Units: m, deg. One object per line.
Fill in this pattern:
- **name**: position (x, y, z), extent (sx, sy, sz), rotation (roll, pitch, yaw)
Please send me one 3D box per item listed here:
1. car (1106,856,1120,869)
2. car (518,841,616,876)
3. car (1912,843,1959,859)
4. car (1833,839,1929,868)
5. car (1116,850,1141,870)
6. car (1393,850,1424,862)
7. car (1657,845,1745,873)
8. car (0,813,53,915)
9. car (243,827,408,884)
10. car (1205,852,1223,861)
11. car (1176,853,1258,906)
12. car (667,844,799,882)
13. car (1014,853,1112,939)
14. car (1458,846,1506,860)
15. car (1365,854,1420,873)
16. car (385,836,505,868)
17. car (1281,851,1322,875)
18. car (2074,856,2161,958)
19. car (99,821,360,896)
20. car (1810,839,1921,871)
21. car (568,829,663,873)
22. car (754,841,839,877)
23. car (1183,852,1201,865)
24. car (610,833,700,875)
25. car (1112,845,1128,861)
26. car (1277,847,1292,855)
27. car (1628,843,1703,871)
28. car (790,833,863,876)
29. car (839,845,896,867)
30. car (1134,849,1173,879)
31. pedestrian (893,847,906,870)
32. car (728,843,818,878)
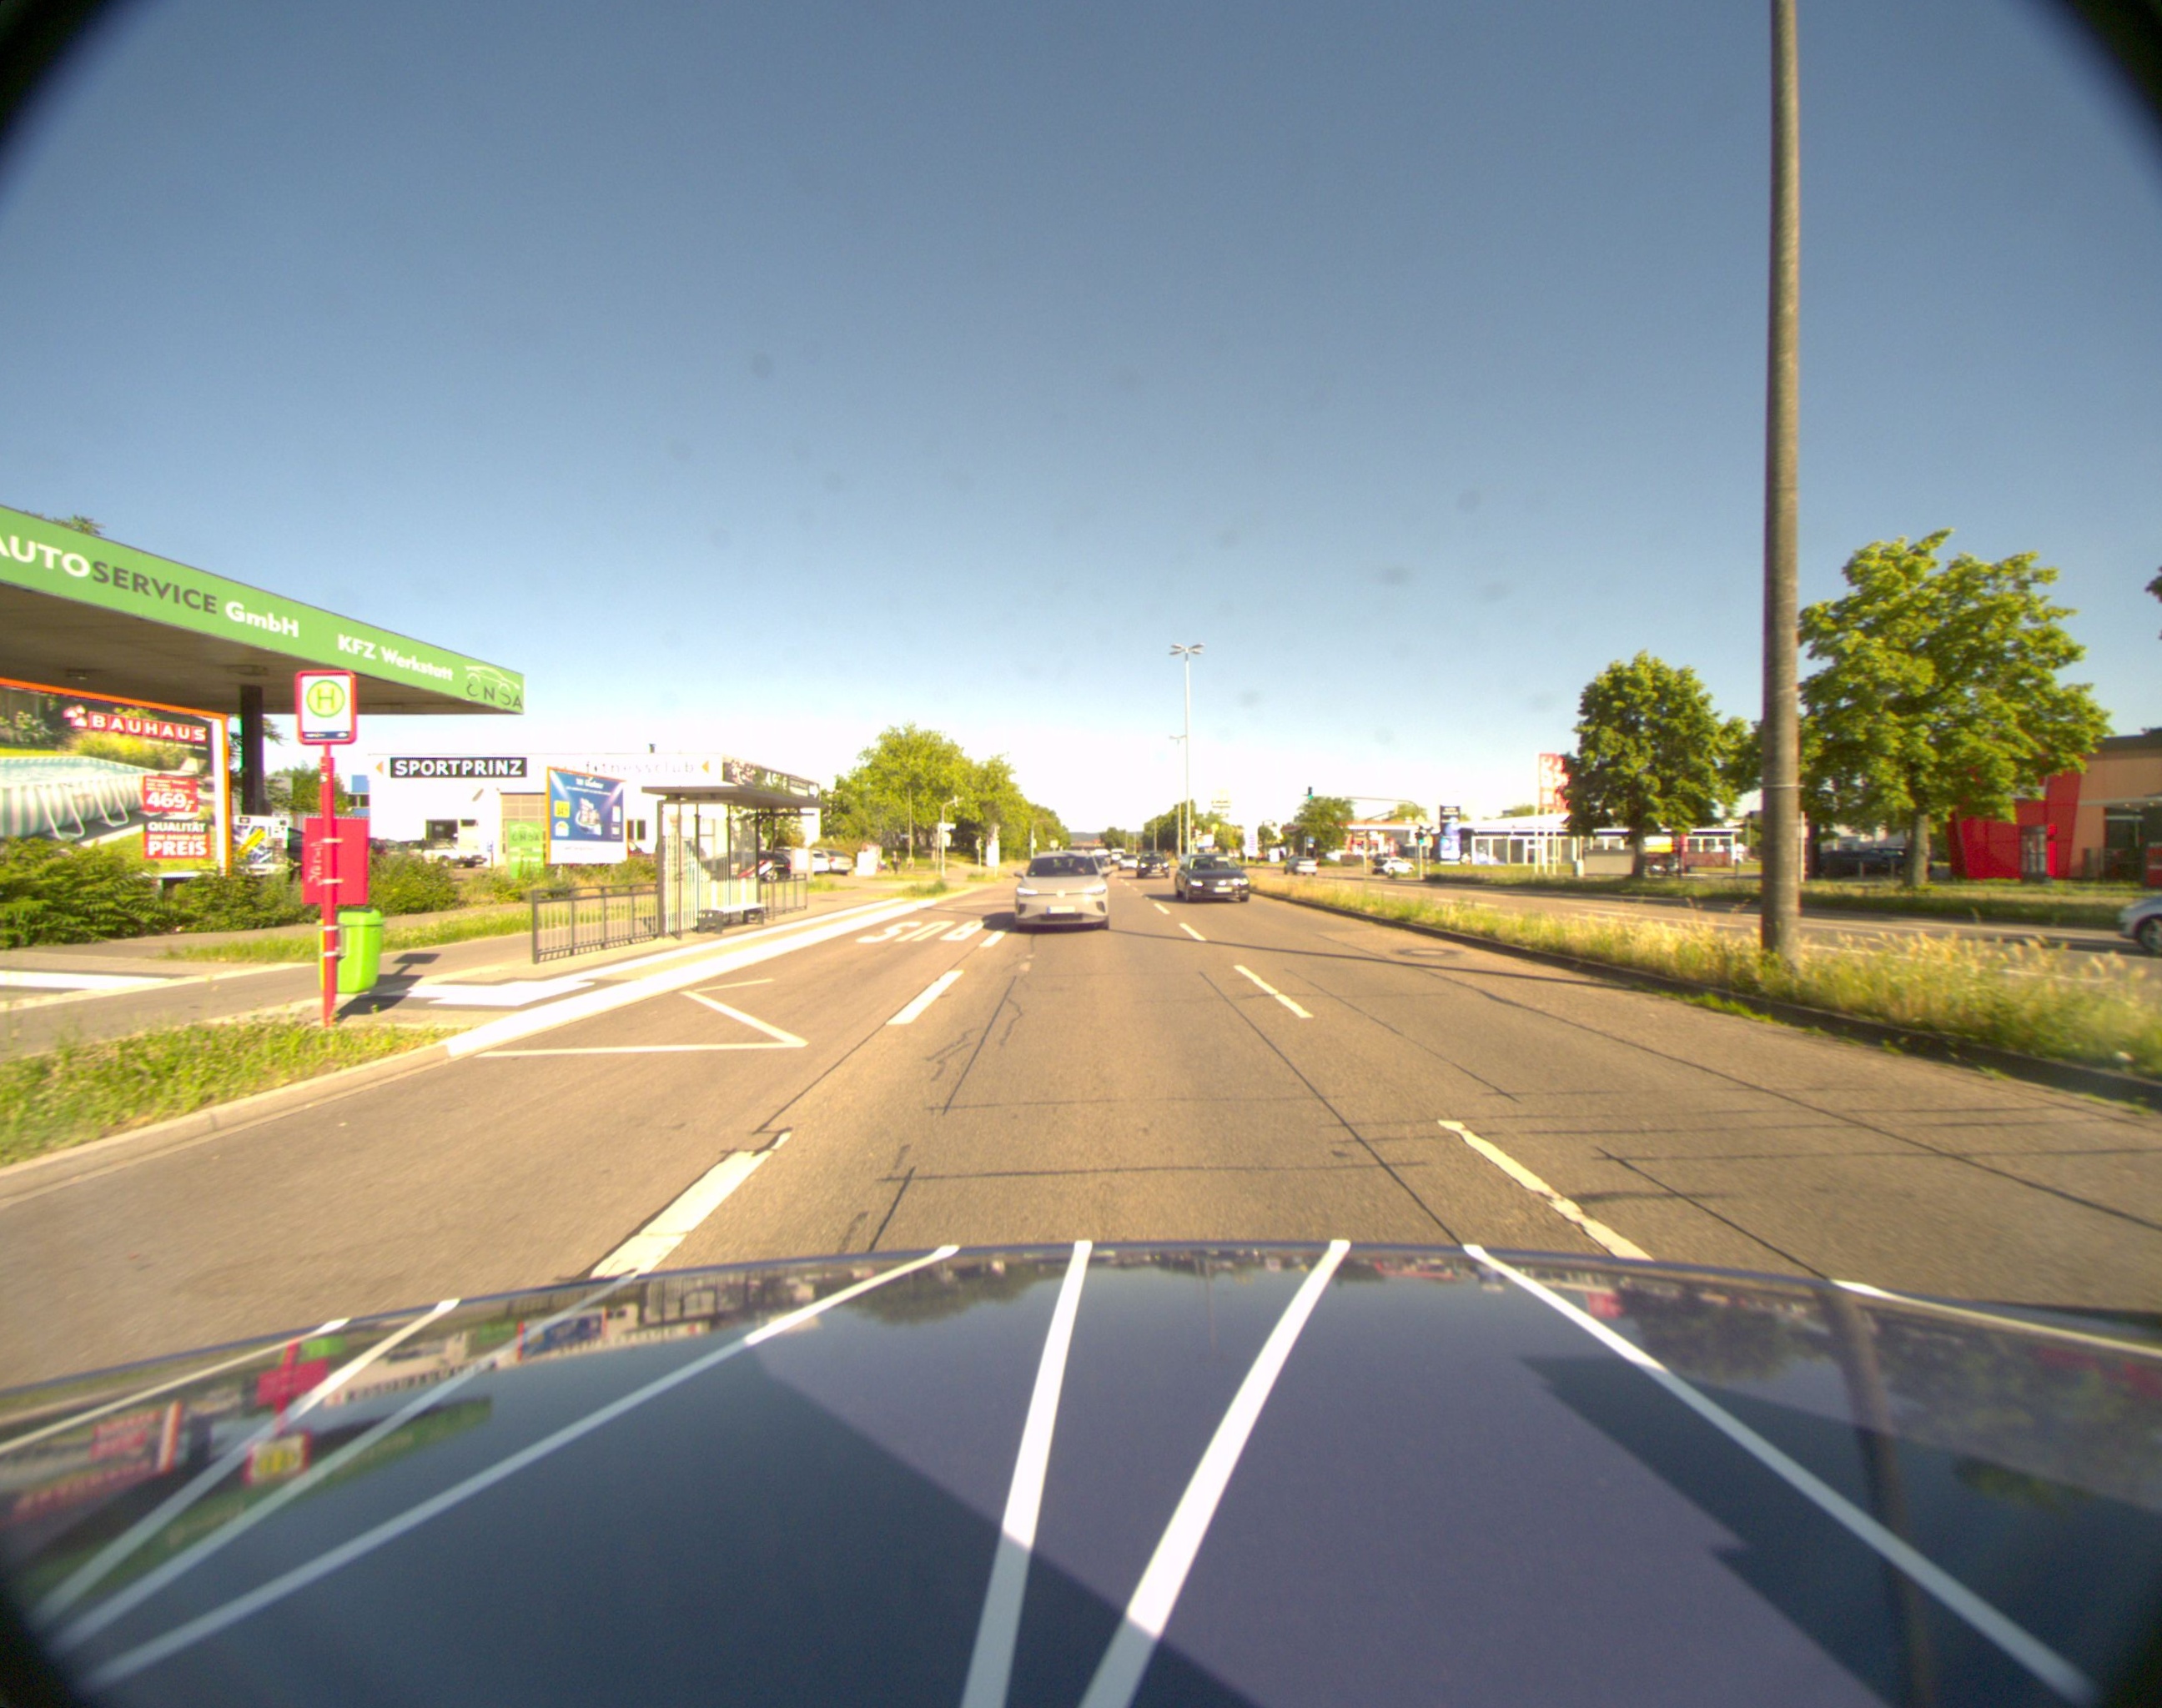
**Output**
- **car**: position (4.998, 1.330, 119.713), extent (1.998, 2.002, 4.000), rotation (-2, 1, 1)
- **car**: position (-23.995, 0.161, 35.667), extent (1.771, 1.245, 4.213), rotation (5, 3, -2)
- **car**: position (116.967, -0.467, 104.062), extent (1.905, 2.081, 4.107), rotation (0, 1, -39)
- **car**: position (48.537, -0.022, 46.190), extent (1.887, 1.738, 3.989), rotation (-1, 0, -44)
- **car**: position (4.322, 0.514, 69.871), extent (1.998, 1.779, 4.270), rotation (-2, 1, 1)
- **car**: position (38.392, 0.209, 89.164), extent (1.900, 1.317, 4.119), rotation (1, 1, -1)
- **car**: position (39.501, 0.313, 48.465), extent (1.899, 1.652, 4.122), rotation (-2, 1, -42)
- **car**: position (-17.481, 0.174, 10.101), extent (1.749, 1.563, 4.249), rotation (-1, 0, 2)
- **car**: position (-25.824, 0.016, 26.070), extent (3.773, 1.539, 1.848), rotation (5, 3, 0)
- **car**: position (20.809, 0.422, 118.800), extent (1.998, 1.368, 4.622), rotation (0, 1, 1)
- **car**: position (4.119, 0.726, 23.622), extent (1.848, 1.445, 4.265), rotation (-1, 0, 1)
- **car**: position (-15.212, 0.419, 33.403), extent (1.895, 1.522, 4.847), rotation (3, 0, 44)
- **car**: position (-0.299, 0.800, 16.704), extent (1.848, 1.615, 4.265), rotation (-1, 0, 1)
- **car**: position (43.556, -0.096, 82.618), extent (4.116, 1.424, 1.901), rotation (1, 1, 1)
- **car**: position (25.913, 0.789, 63.215), extent (4.202, 1.465, 1.995), rotation (0, 1, -27)
- **car**: position (-31.386, -0.078, 37.595), extent (4.213, 1.400, 1.994), rotation (2, 0, 0)
- **car**: position (16.848, 0.656, 58.272), extent (1.998, 1.674, 4.176), rotation (1, 1, 1)
- **car**: position (16.261, 0.791, 9.738), extent (1.645, 1.442, 4.111), rotation (2, 1, 0)
- **car**: position (-21.236, 0.094, 19.255), extent (1.998, 1.638, 4.000), rotation (-2, 1, 1)
- **car**: position (43.657, 0.089, 42.358), extent (1.899, 1.652, 4.230), rotation (-2, 1, -42)
- **car**: position (-21.761, -0.155, 35.713), extent (1.898, 1.850, 4.215), rotation (3, 1, -2)
- **car**: position (-15.420, 0.265, 41.249), extent (3.924, 1.444, 1.726), rotation (7, 1, 12)
- **car**: position (14.842, 0.631, 101.908), extent (1.879, 1.632, 4.170), rotation (1, 1, 1)
- **car**: position (-19.897, -0.043, 35.712), extent (1.687, 1.773, 4.594), rotation (3, 1, -2)
- **car**: position (5.436, -0.133, 106.548), extent (2.089, 2.229, 4.000), rotation (-2, 1, 1)
- **car**: position (40.430, -0.584, 151.292), extent (1.762, 1.604, 4.119), rotation (1, 1, -1)
- **car**: position (41.062, 0.230, 53.404), extent (1.851, 1.840, 3.820), rotation (-2, 1, -39)
- **car**: position (-14.871, -0.003, 44.357), extent (3.986, 2.002, 1.690), rotation (7, 1, 33)
- **car**: position (-19.666, 0.178, 70.243), extent (4.692, 1.923, 1.872), rotation (-1, 1, 1)
- **car**: position (4.434, 0.586, 46.996), extent (1.998, 1.674, 4.695), rotation (-2, 1, 1)
- **pedestrian**: position (-13.294, 0.333, 55.711), extent (0.759, 1.706, 0.617), rotation (0, 1, 1)
- **car**: position (-15.372, 0.317, 38.014), extent (3.614, 1.283, 1.841), rotation (7, 1, 2)
